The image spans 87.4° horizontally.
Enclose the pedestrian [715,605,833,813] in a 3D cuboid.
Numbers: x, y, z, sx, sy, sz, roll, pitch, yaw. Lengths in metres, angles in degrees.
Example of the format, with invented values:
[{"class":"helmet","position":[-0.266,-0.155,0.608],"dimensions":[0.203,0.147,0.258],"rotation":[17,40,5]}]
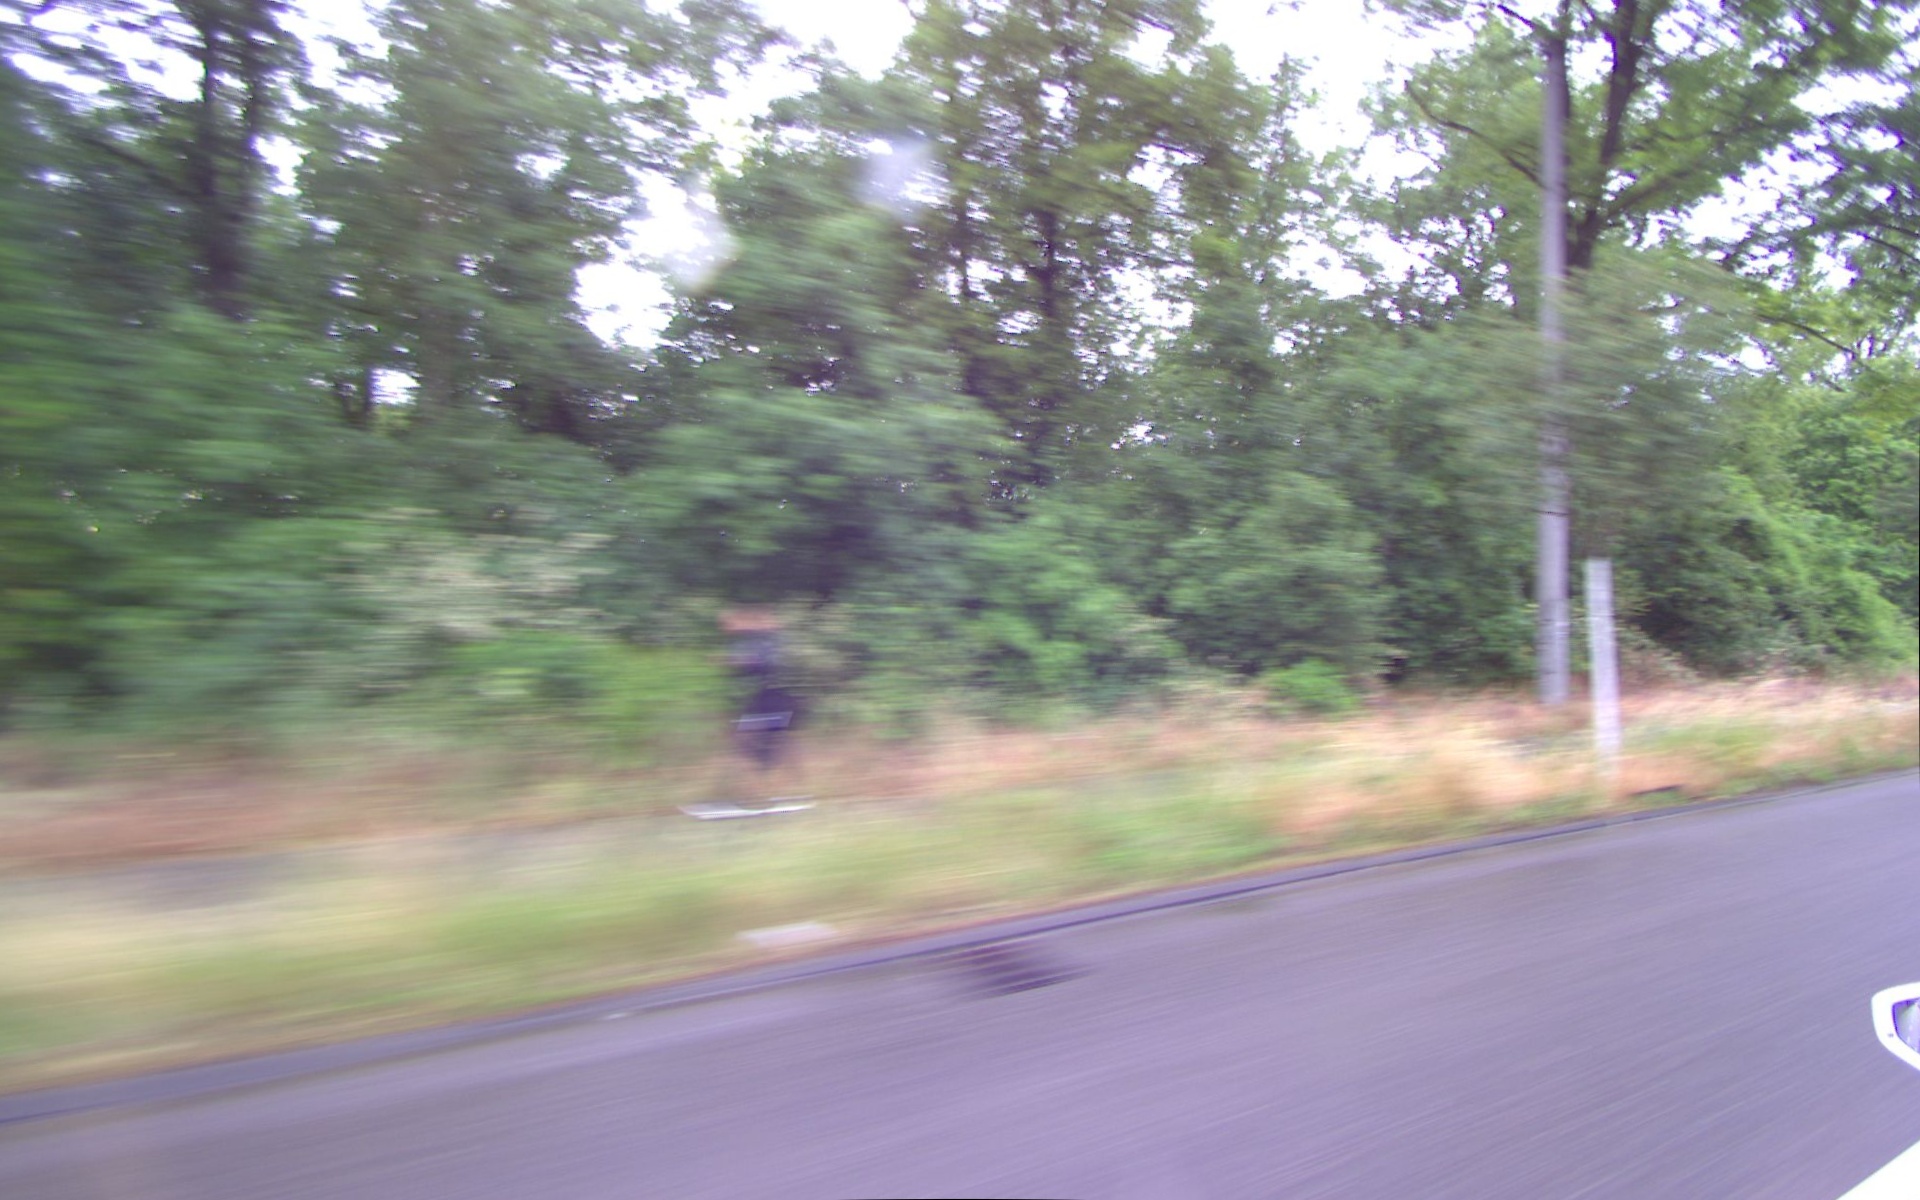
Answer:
[{"class":"pedestrian","position":[-1.566,0.867,8.411],"dimensions":[0.724,1.629,0.777],"rotation":[1,0,-31]}]
